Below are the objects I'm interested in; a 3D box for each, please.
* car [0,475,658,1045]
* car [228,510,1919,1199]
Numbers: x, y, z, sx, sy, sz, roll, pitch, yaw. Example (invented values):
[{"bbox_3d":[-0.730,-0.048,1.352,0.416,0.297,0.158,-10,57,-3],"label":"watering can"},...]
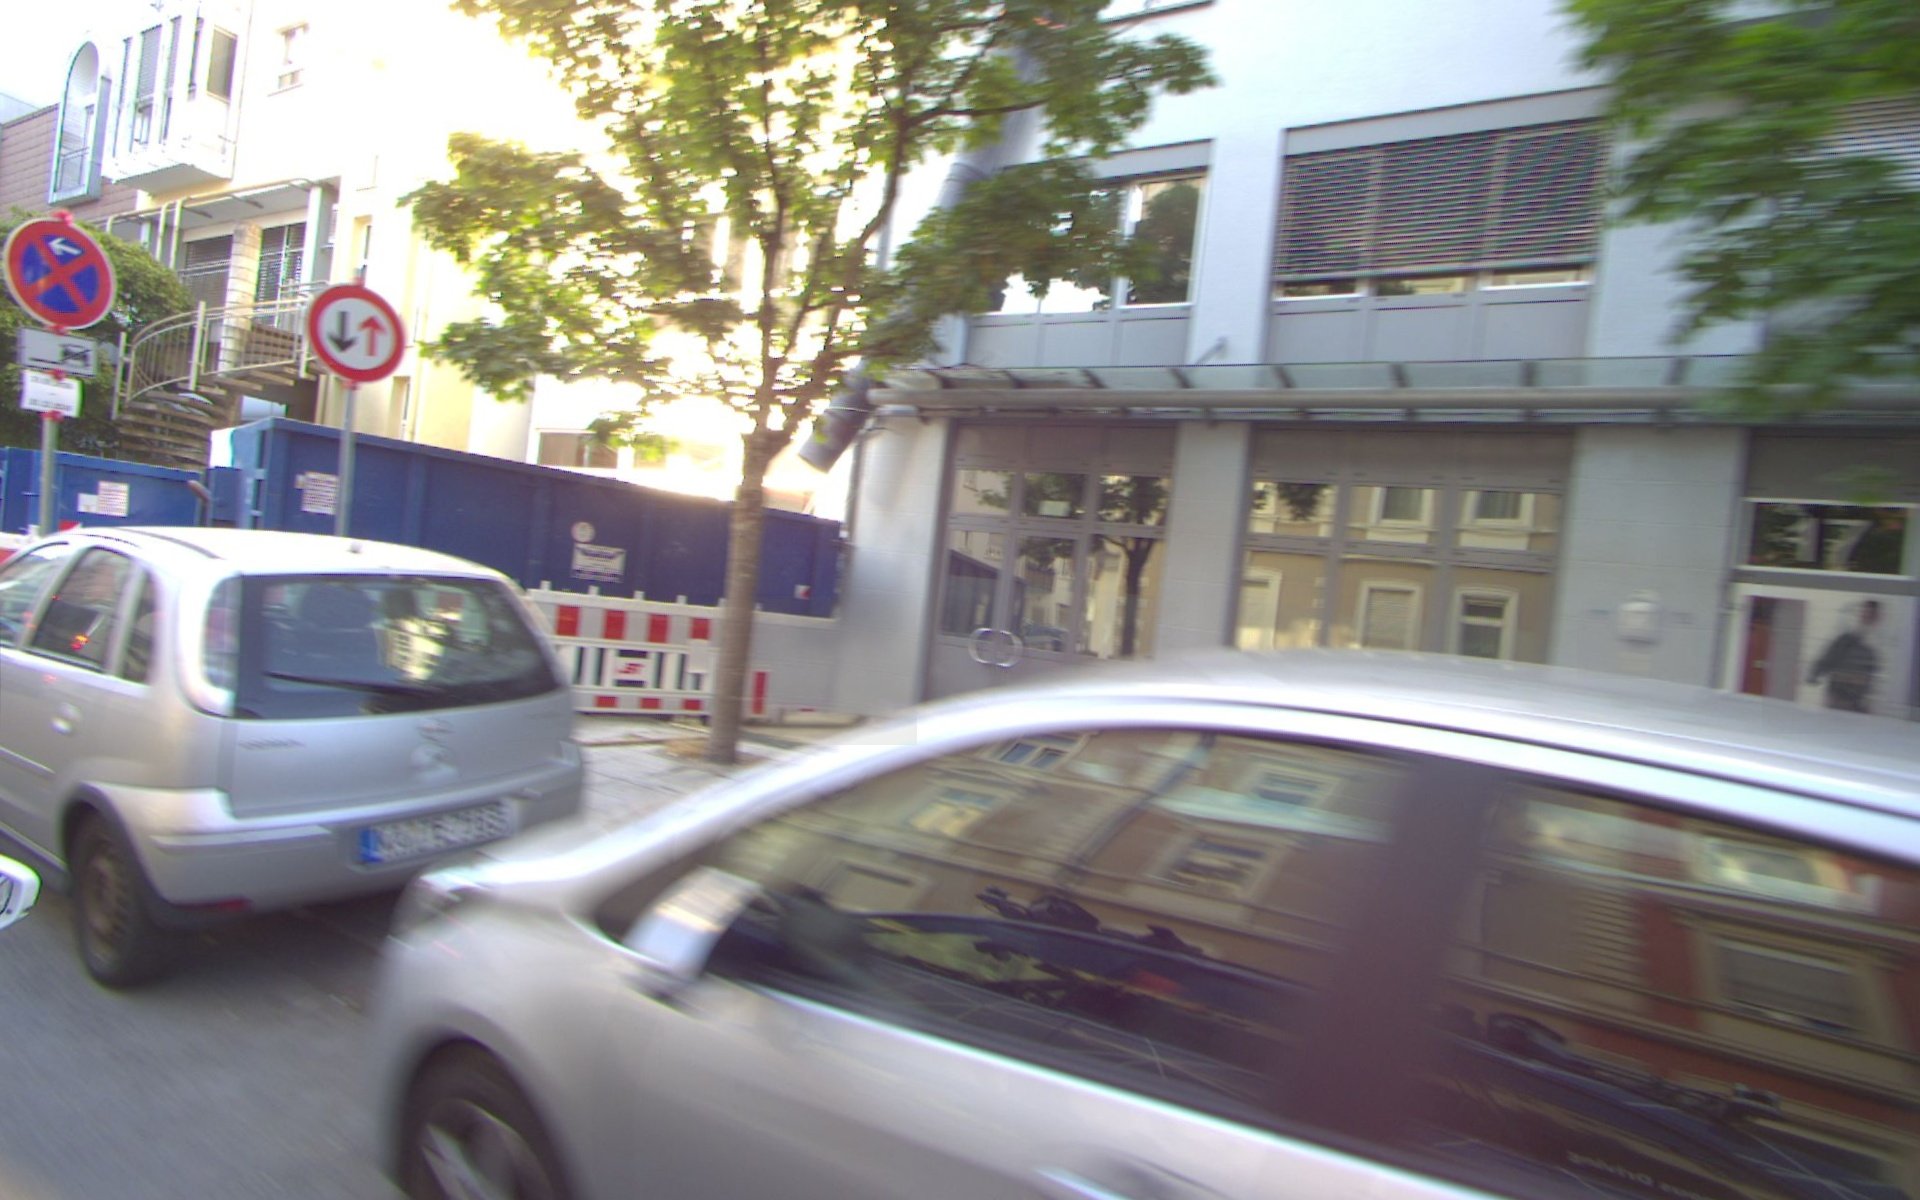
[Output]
[{"bbox_3d":[-3.265,0.318,4.396,3.669,1.495,1.677,7,1,34],"label":"car"},{"bbox_3d":[0.568,0.816,1.827,3.905,1.544,1.677,7,1,32],"label":"car"}]
